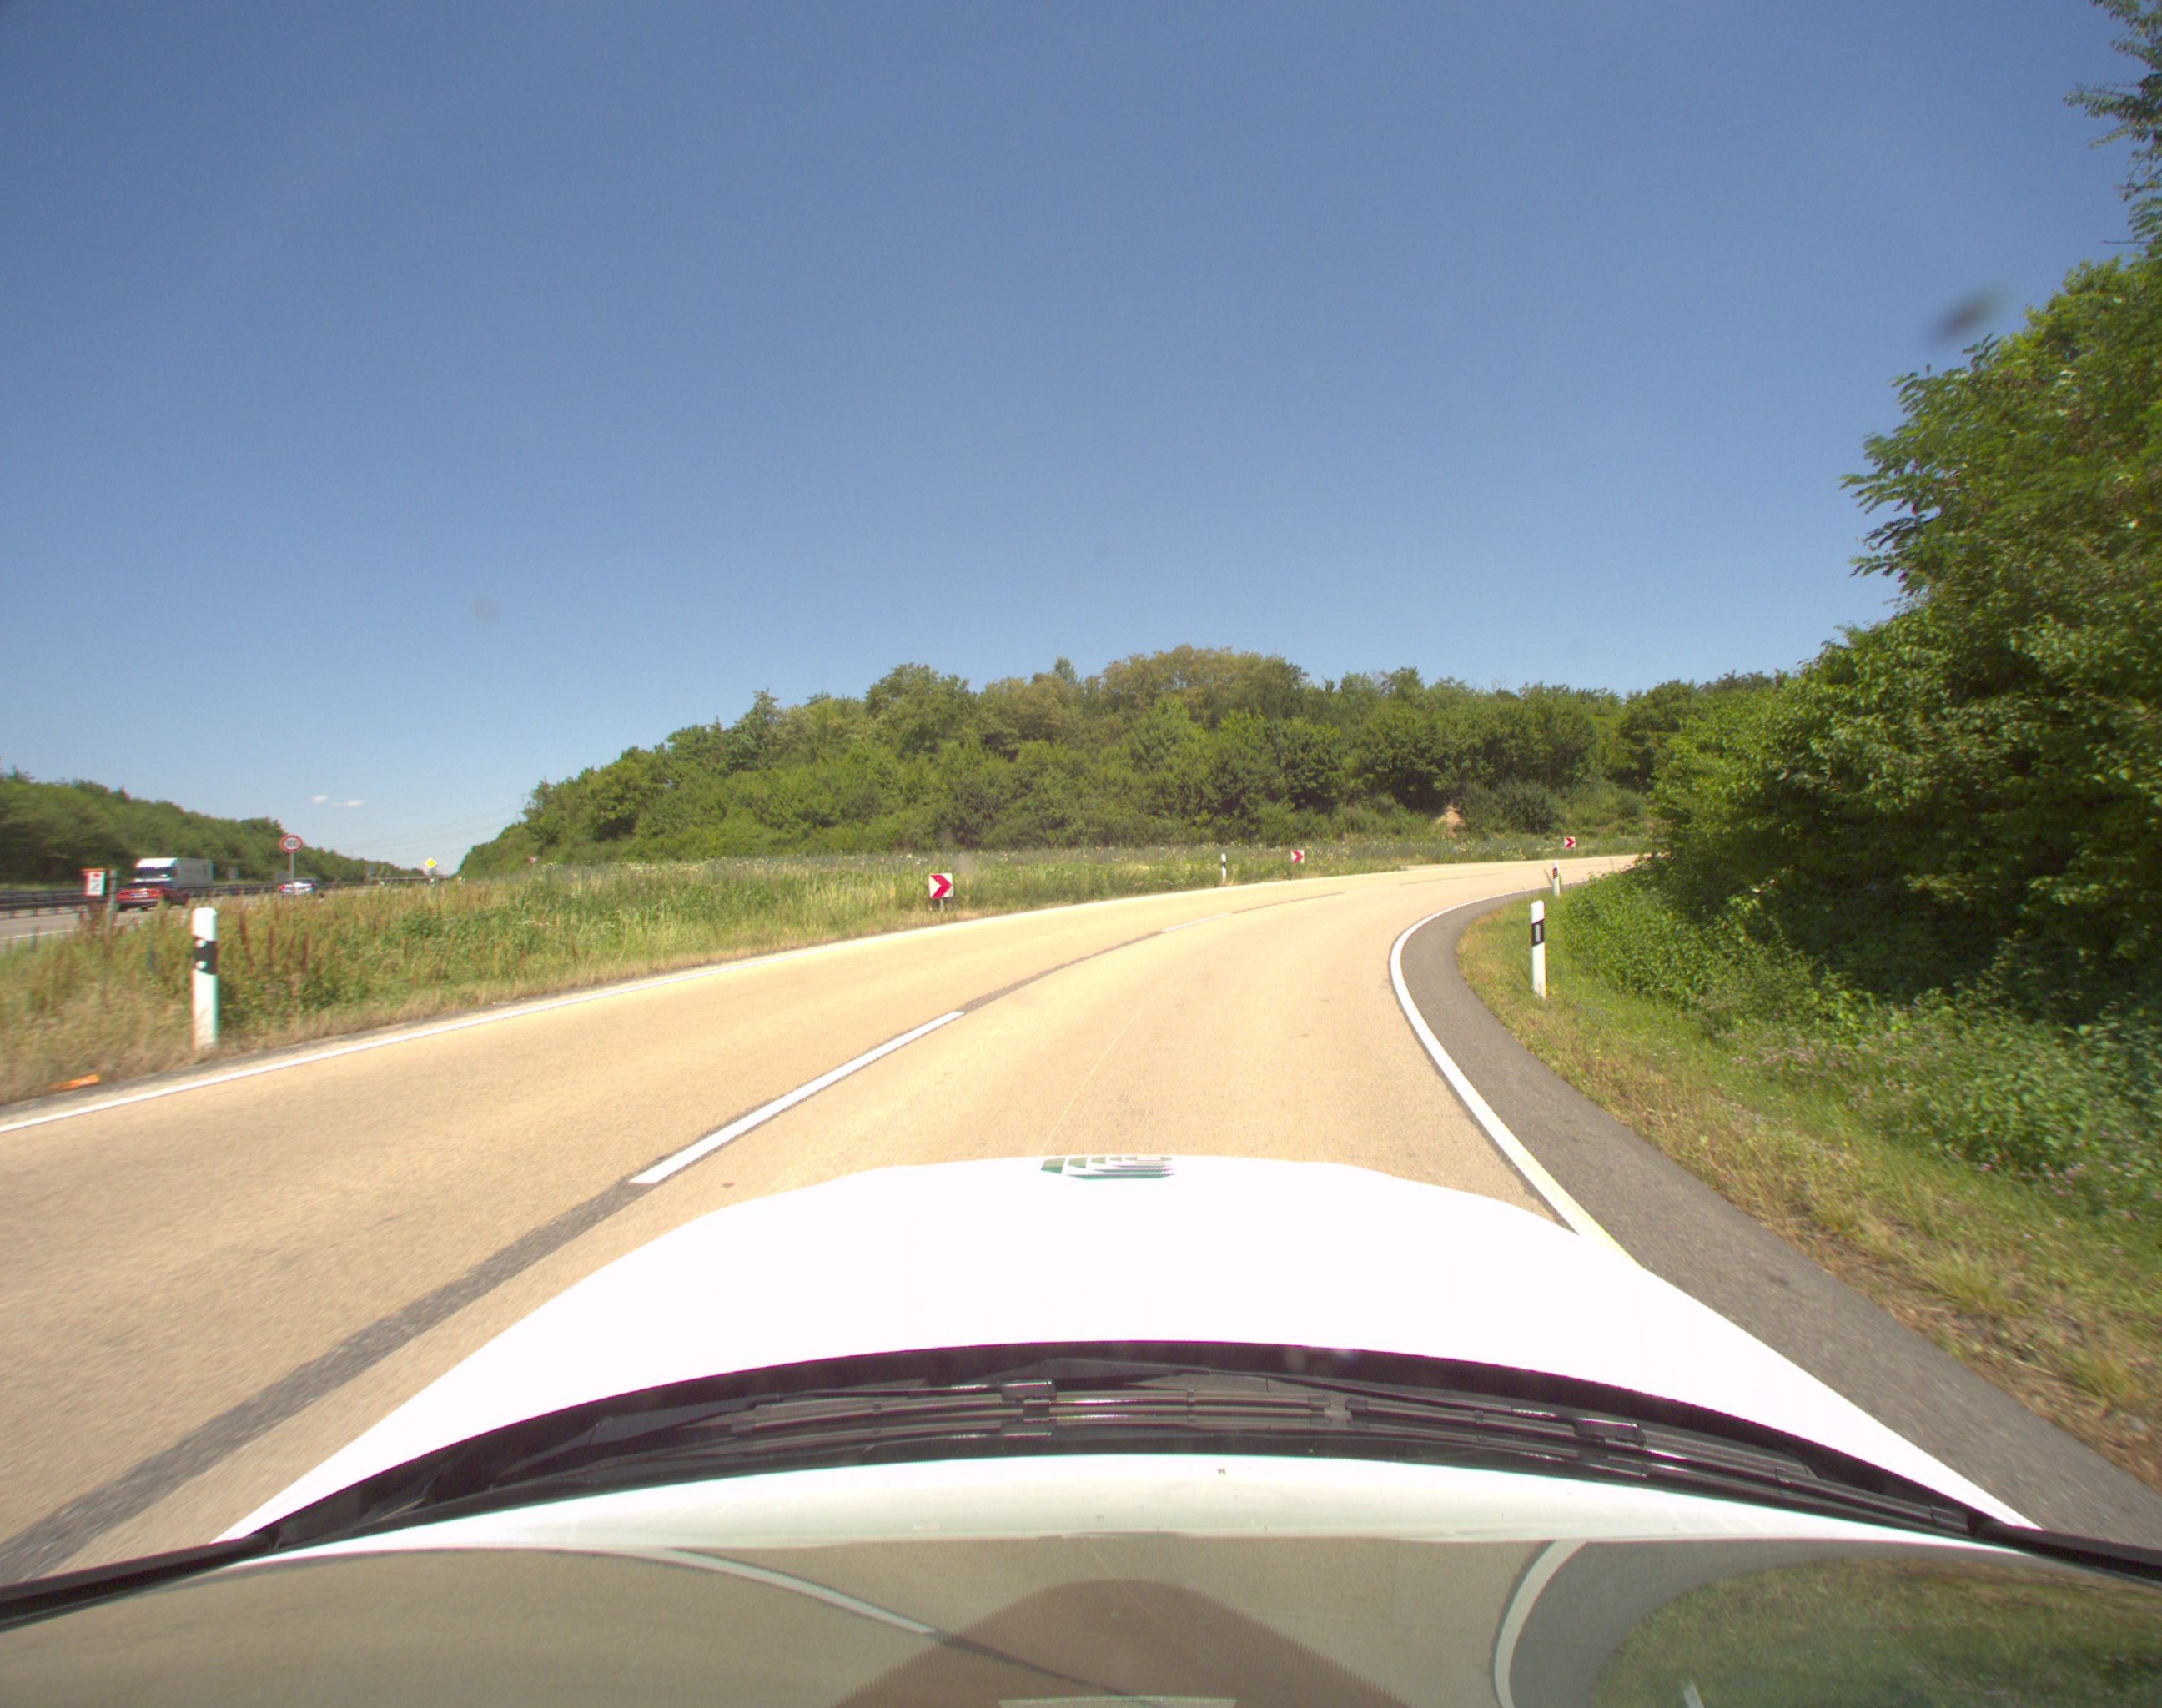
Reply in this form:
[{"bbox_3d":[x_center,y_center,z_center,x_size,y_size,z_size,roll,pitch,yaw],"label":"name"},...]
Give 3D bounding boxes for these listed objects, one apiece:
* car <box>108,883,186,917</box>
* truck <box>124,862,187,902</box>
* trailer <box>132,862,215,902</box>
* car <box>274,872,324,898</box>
[{"bbox_3d":[-48.653,2.364,42.497,1.756,1.554,3.345,-2,1,-33],"label":"car"},{"bbox_3d":[-95.419,2.844,84.064,2.933,3.939,5.359,-2,0,-35],"label":"truck"},{"bbox_3d":[-98.792,2.929,88.942,2.933,3.939,13.132,-2,0,-35],"label":"trailer"},{"bbox_3d":[-53.069,2.067,55.339,1.756,1.577,3.345,-2,1,-33],"label":"car"}]
